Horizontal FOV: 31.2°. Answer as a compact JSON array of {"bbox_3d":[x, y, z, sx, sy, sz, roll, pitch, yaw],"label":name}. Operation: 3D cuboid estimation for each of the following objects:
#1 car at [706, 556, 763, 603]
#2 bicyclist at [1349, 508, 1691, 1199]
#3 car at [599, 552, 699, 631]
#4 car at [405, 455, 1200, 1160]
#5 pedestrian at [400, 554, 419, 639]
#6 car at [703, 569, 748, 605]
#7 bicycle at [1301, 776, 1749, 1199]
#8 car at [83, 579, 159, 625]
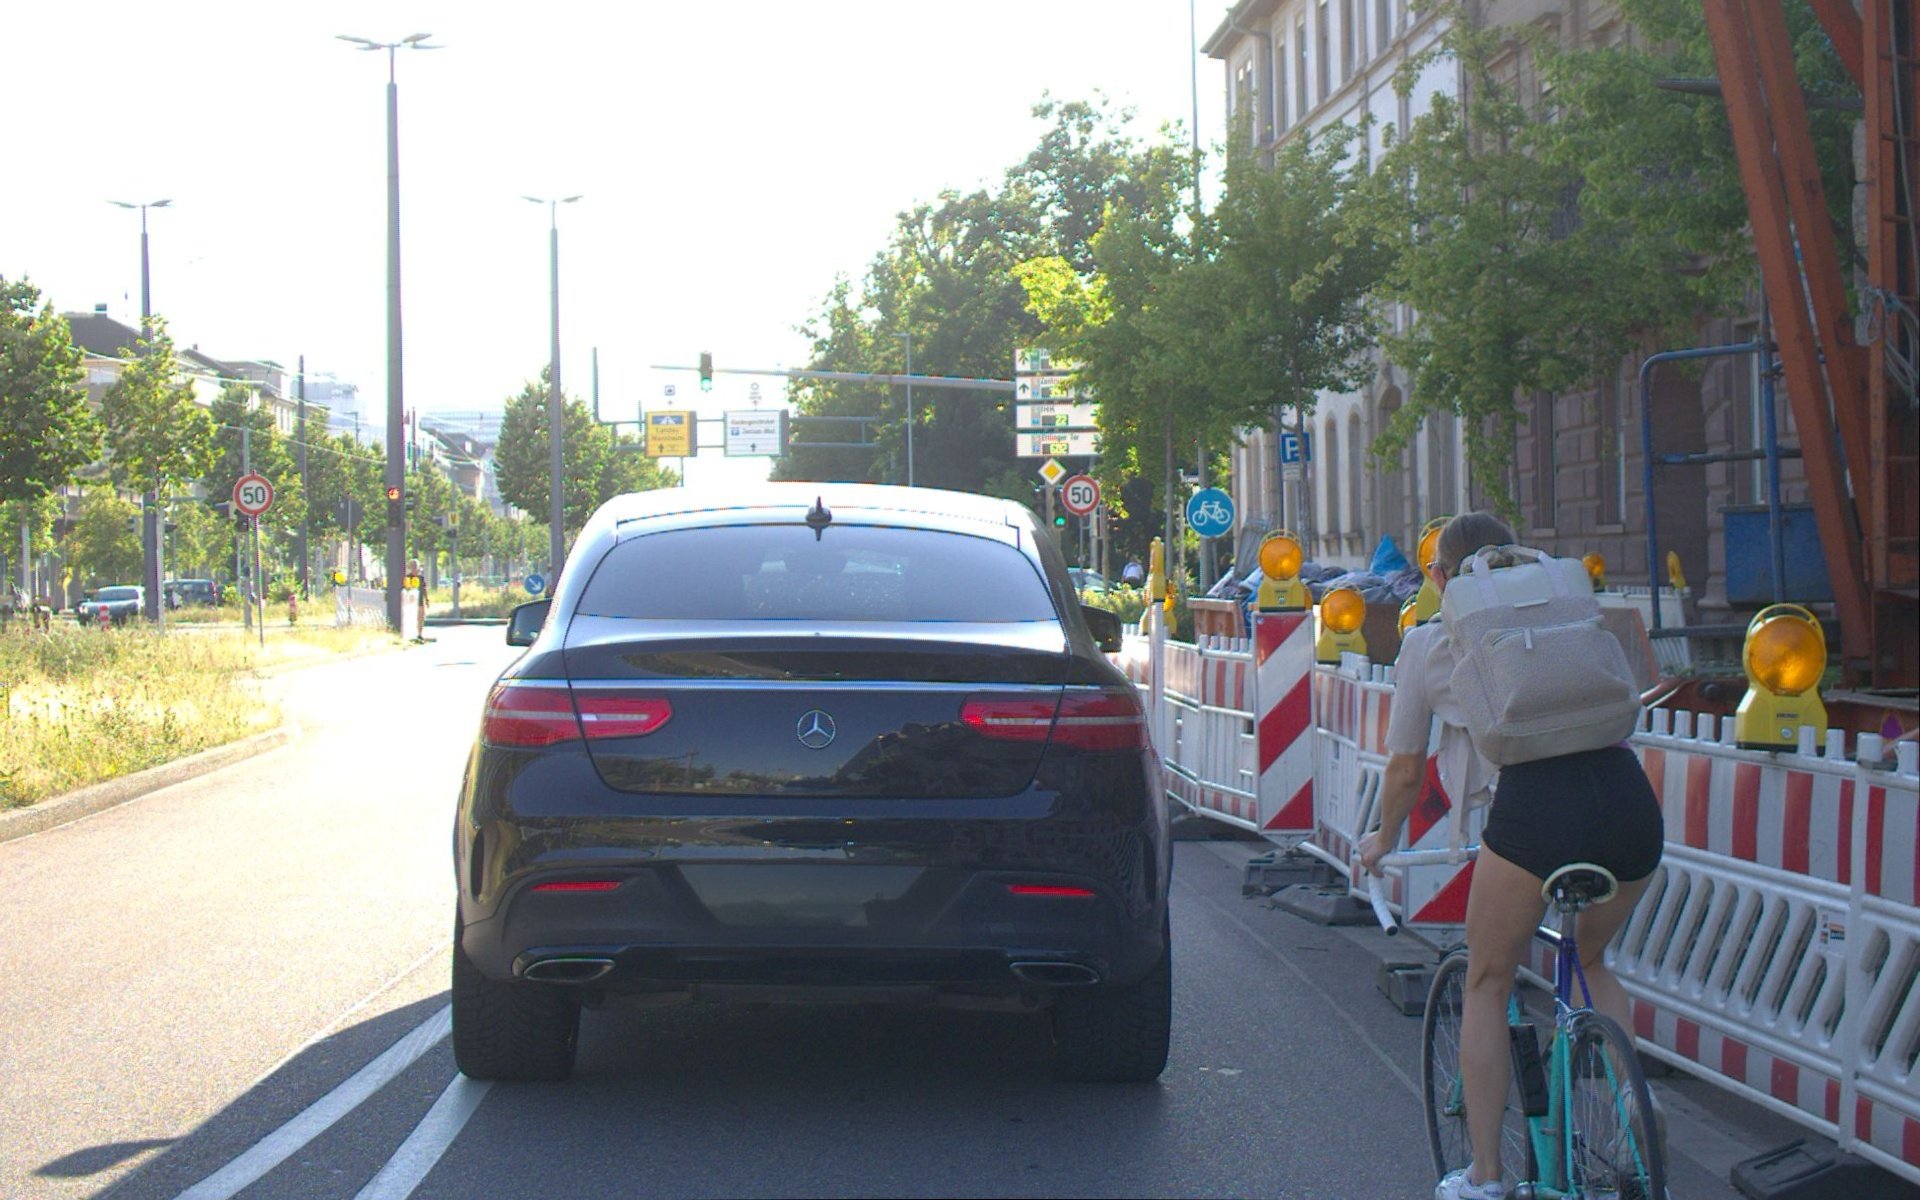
[{"bbox_3d":[-7.106,-0.659,108.582,1.708,1.437,3.583,1,0,-2],"label":"car"},{"bbox_3d":[1.078,0.524,6.710,0.522,1.391,0.615,1,0,-3],"label":"bicyclist"},{"bbox_3d":[-5.810,-0.182,64.512,1.708,1.437,3.583,0,1,-2],"label":"car"},{"bbox_3d":[-0.412,0.508,10.703,1.993,1.766,4.000,1,0,0],"label":"car"},{"bbox_3d":[-11.433,-0.079,71.379,0.334,1.757,0.418,1,0,-3],"label":"pedestrian"},{"bbox_3d":[-9.592,-0.551,140.813,1.708,1.437,3.583,1,0,-2],"label":"car"},{"bbox_3d":[1.069,0.929,6.848,0.512,1.048,1.725,1,0,-3],"label":"bicycle"},{"bbox_3d":[-27.079,0.048,111.033,1.708,1.437,3.583,1,0,-2],"label":"car"}]
